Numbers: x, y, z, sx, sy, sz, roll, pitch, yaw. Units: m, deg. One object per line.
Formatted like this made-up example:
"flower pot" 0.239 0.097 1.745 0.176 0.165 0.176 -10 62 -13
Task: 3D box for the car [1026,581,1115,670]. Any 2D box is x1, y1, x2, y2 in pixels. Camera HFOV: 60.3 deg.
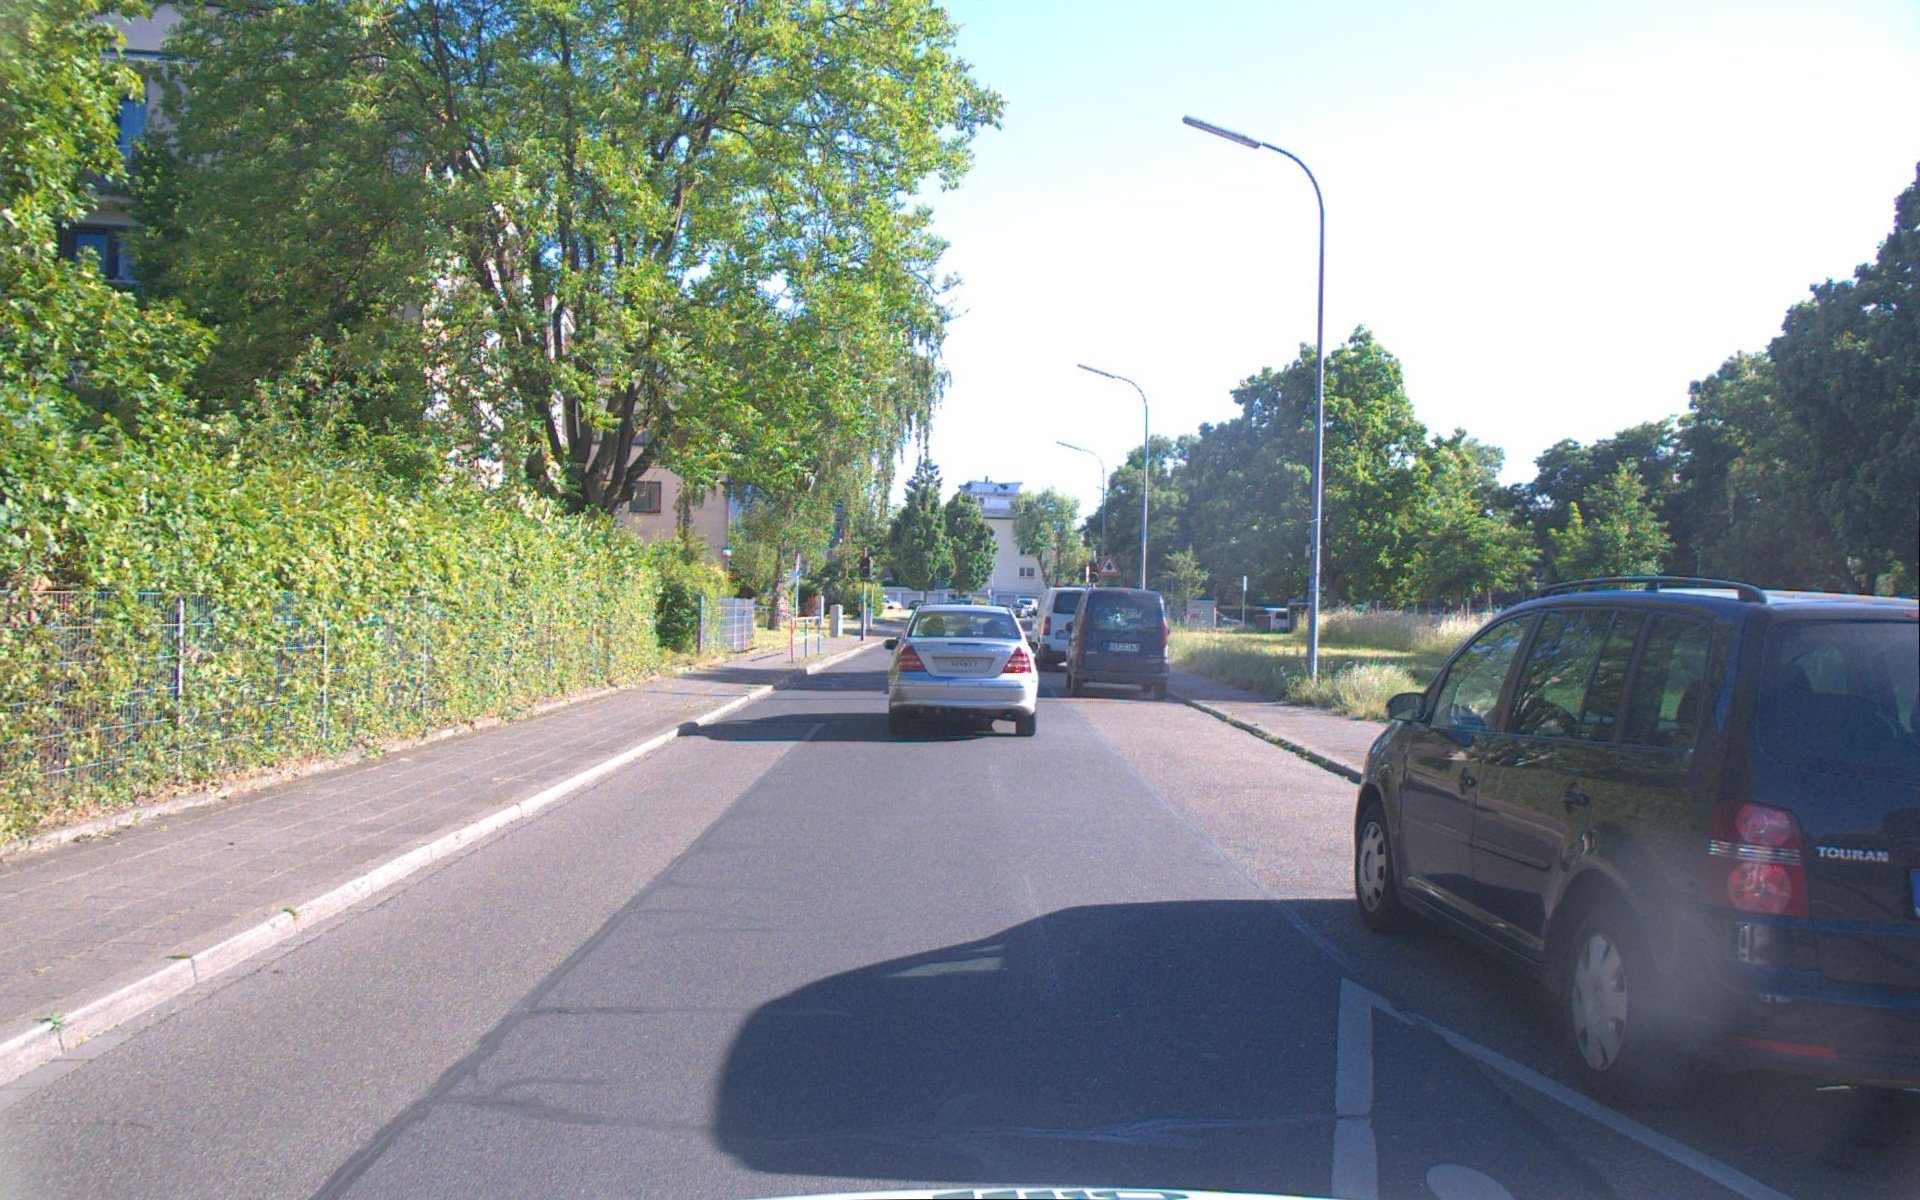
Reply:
"car" 2.525 0.560 38.610 1.664 1.884 3.850 3 0 -1

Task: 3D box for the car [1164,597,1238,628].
"car" 12.481 0.647 85.531 3.624 1.467 1.700 1 -2 15

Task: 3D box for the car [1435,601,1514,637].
"car" 25.428 0.936 81.796 3.624 1.646 1.700 1 -2 15

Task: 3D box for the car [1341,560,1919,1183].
"car" 2.875 0.751 6.439 1.664 1.638 3.999 3 0 -2

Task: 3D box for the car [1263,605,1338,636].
"car" 17.413 1.053 84.531 3.624 1.497 1.700 1 -2 15

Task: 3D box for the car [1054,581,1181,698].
"car" 2.654 0.627 28.584 1.664 1.790 3.850 3 0 -1

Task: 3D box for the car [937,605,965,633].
"car" -0.614 1.323 113.583 1.846 1.758 3.998 1 -2 -1

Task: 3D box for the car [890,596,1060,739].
"car" 0.072 0.706 19.608 1.780 1.489 4.359 0 0 -2

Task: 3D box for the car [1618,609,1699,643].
"car" 36.882 1.389 87.420 3.624 1.646 1.701 1 -2 9
